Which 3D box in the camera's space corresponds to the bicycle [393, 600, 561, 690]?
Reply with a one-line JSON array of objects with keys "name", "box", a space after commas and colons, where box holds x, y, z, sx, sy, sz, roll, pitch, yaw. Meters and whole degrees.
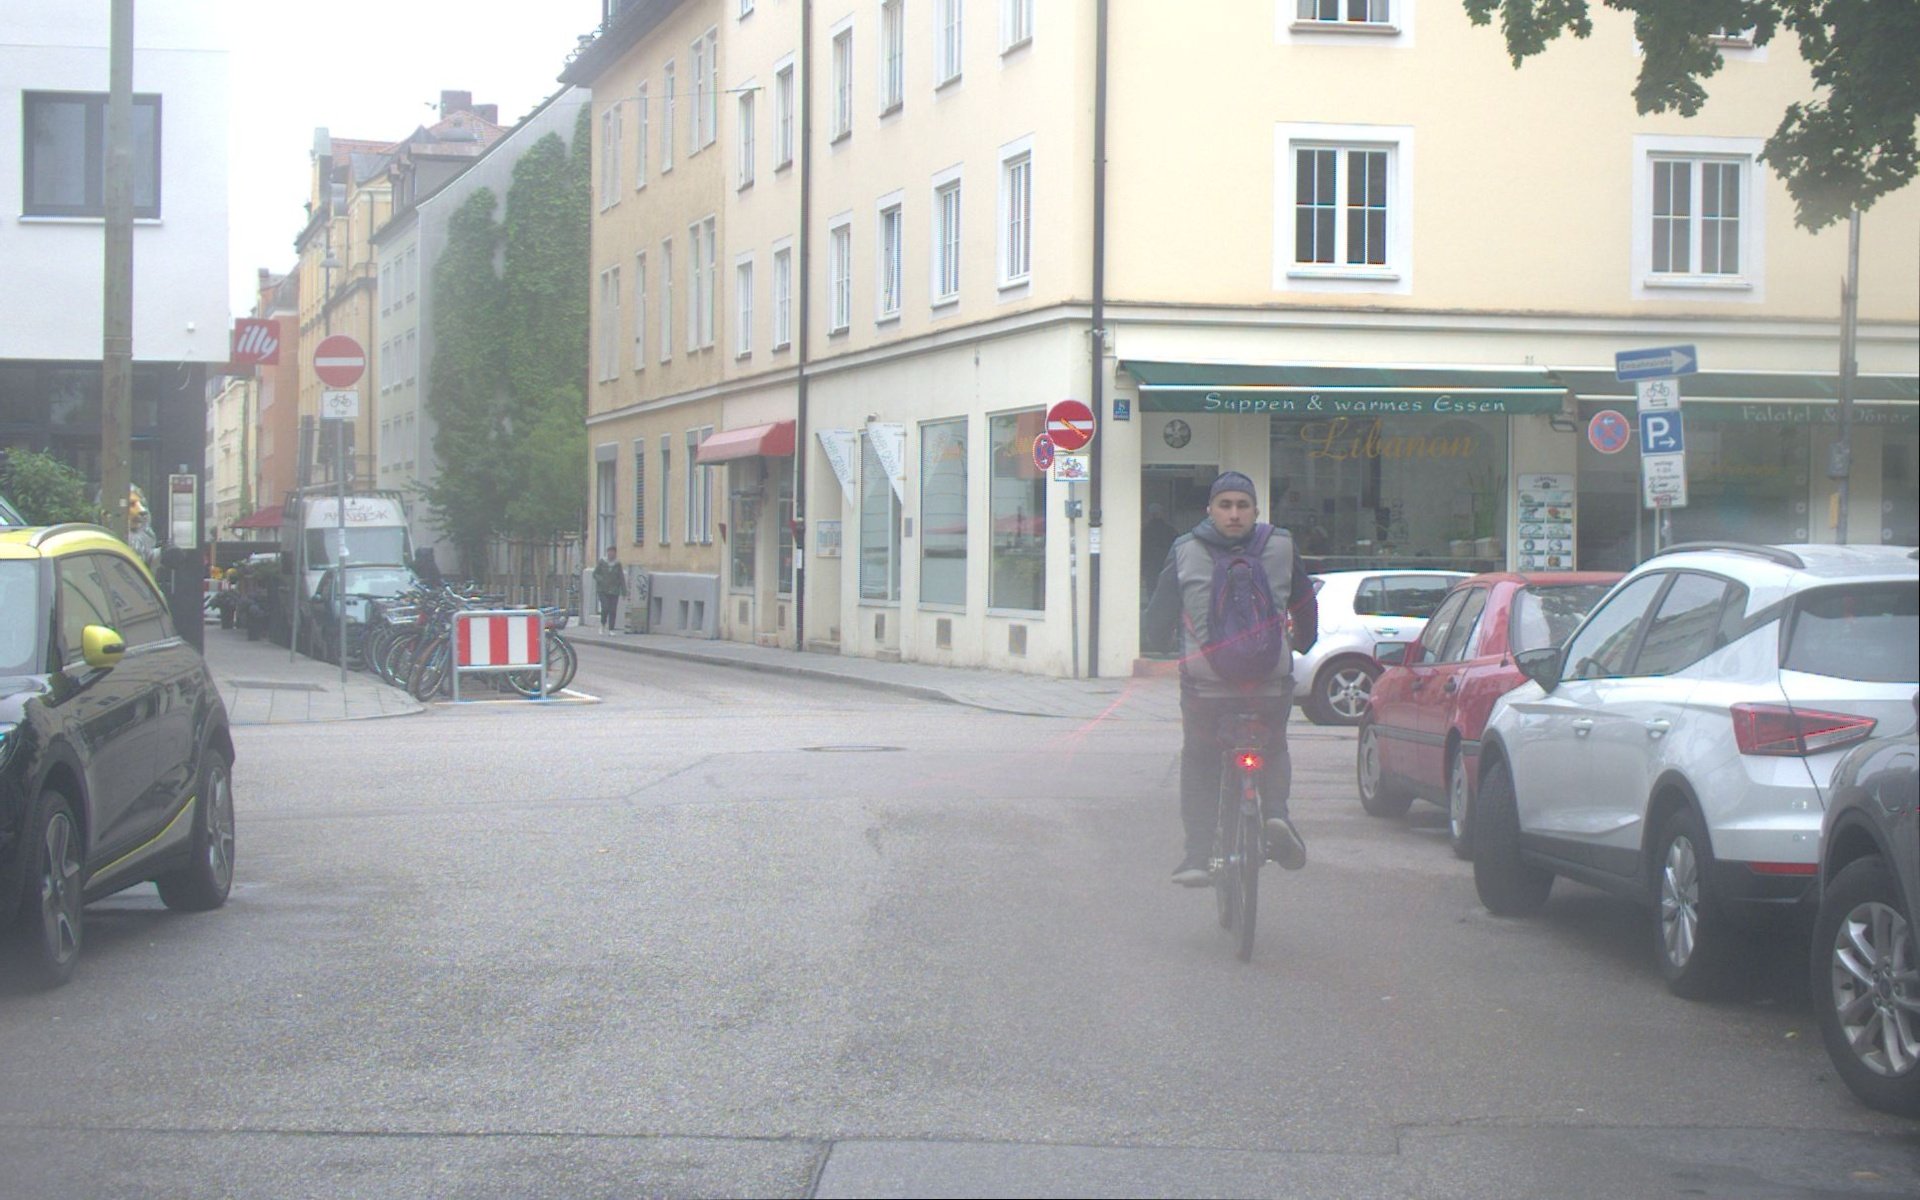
[{"name": "bicycle", "box": [-5.271, 0.491, 37.522, 1.735, 0.965, 0.543, 0, 1, -17]}]

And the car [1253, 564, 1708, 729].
[{"name": "car", "box": [4.853, 0.458, 32.437, 3.987, 1.411, 1.820, 1, -3, 0]}]

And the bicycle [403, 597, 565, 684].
[{"name": "bicycle", "box": [-5.371, 0.458, 38.788, 1.735, 0.965, 0.543, 0, 1, -17]}]

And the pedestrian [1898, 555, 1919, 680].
[{"name": "pedestrian", "box": [11.160, 0.199, 39.653, 0.512, 1.428, 0.582, 1, 1, 30]}]

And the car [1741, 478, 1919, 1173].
[{"name": "car", "box": [3.287, 0.574, 7.866, 1.789, 1.707, 4.427, 1, 1, -3]}]

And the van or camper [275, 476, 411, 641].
[{"name": "van or camper", "box": [-10.047, -0.682, 55.749, 1.993, 2.531, 4.762, 1, 1, -12]}]

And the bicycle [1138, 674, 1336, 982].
[{"name": "bicycle", "box": [1.000, 0.807, 12.698, 0.639, 1.001, 1.574, 1, 1, 2]}]

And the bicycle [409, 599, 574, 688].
[{"name": "bicycle", "box": [-5.202, 0.478, 38.183, 1.735, 0.965, 0.543, 0, 1, -17]}]

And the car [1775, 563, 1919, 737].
[{"name": "car", "box": [10.204, 0.504, 32.790, 4.334, 1.586, 1.821, 1, -1, -12]}]

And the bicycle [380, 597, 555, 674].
[{"name": "bicycle", "box": [-5.671, 0.405, 39.583, 1.910, 0.860, 0.619, 0, 1, -17]}]

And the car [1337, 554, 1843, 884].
[{"name": "car", "box": [3.106, 0.515, 17.795, 1.669, 1.430, 4.214, 2, 1, -2]}]

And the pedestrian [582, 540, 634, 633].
[{"name": "pedestrian", "box": [-6.747, -0.259, 65.882, 0.877, 1.772, 0.774, 1, 1, -13]}]

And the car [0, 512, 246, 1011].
[{"name": "car", "box": [-3.930, 0.508, 12.919, 1.676, 1.591, 3.945, -1, 1, 0]}]

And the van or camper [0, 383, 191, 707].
[{"name": "van or camper", "box": [-9.570, -0.460, 29.000, 5.903, 2.668, 1.873, 1, -1, -10]}]

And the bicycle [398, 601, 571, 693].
[{"name": "bicycle", "box": [-5.109, 0.507, 36.916, 1.754, 0.965, 0.595, 0, 1, -17]}]

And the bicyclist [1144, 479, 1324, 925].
[{"name": "bicyclist", "box": [1.008, 0.357, 12.771, 0.606, 1.601, 0.757, 1, 1, 1]}]

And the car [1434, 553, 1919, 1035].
[{"name": "car", "box": [3.086, 0.598, 12.814, 1.750, 1.491, 3.910, 1, 1, -5]}]

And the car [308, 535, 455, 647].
[{"name": "car", "box": [-8.405, -0.158, 49.726, 1.832, 1.530, 4.001, 0, 1, -13]}]
